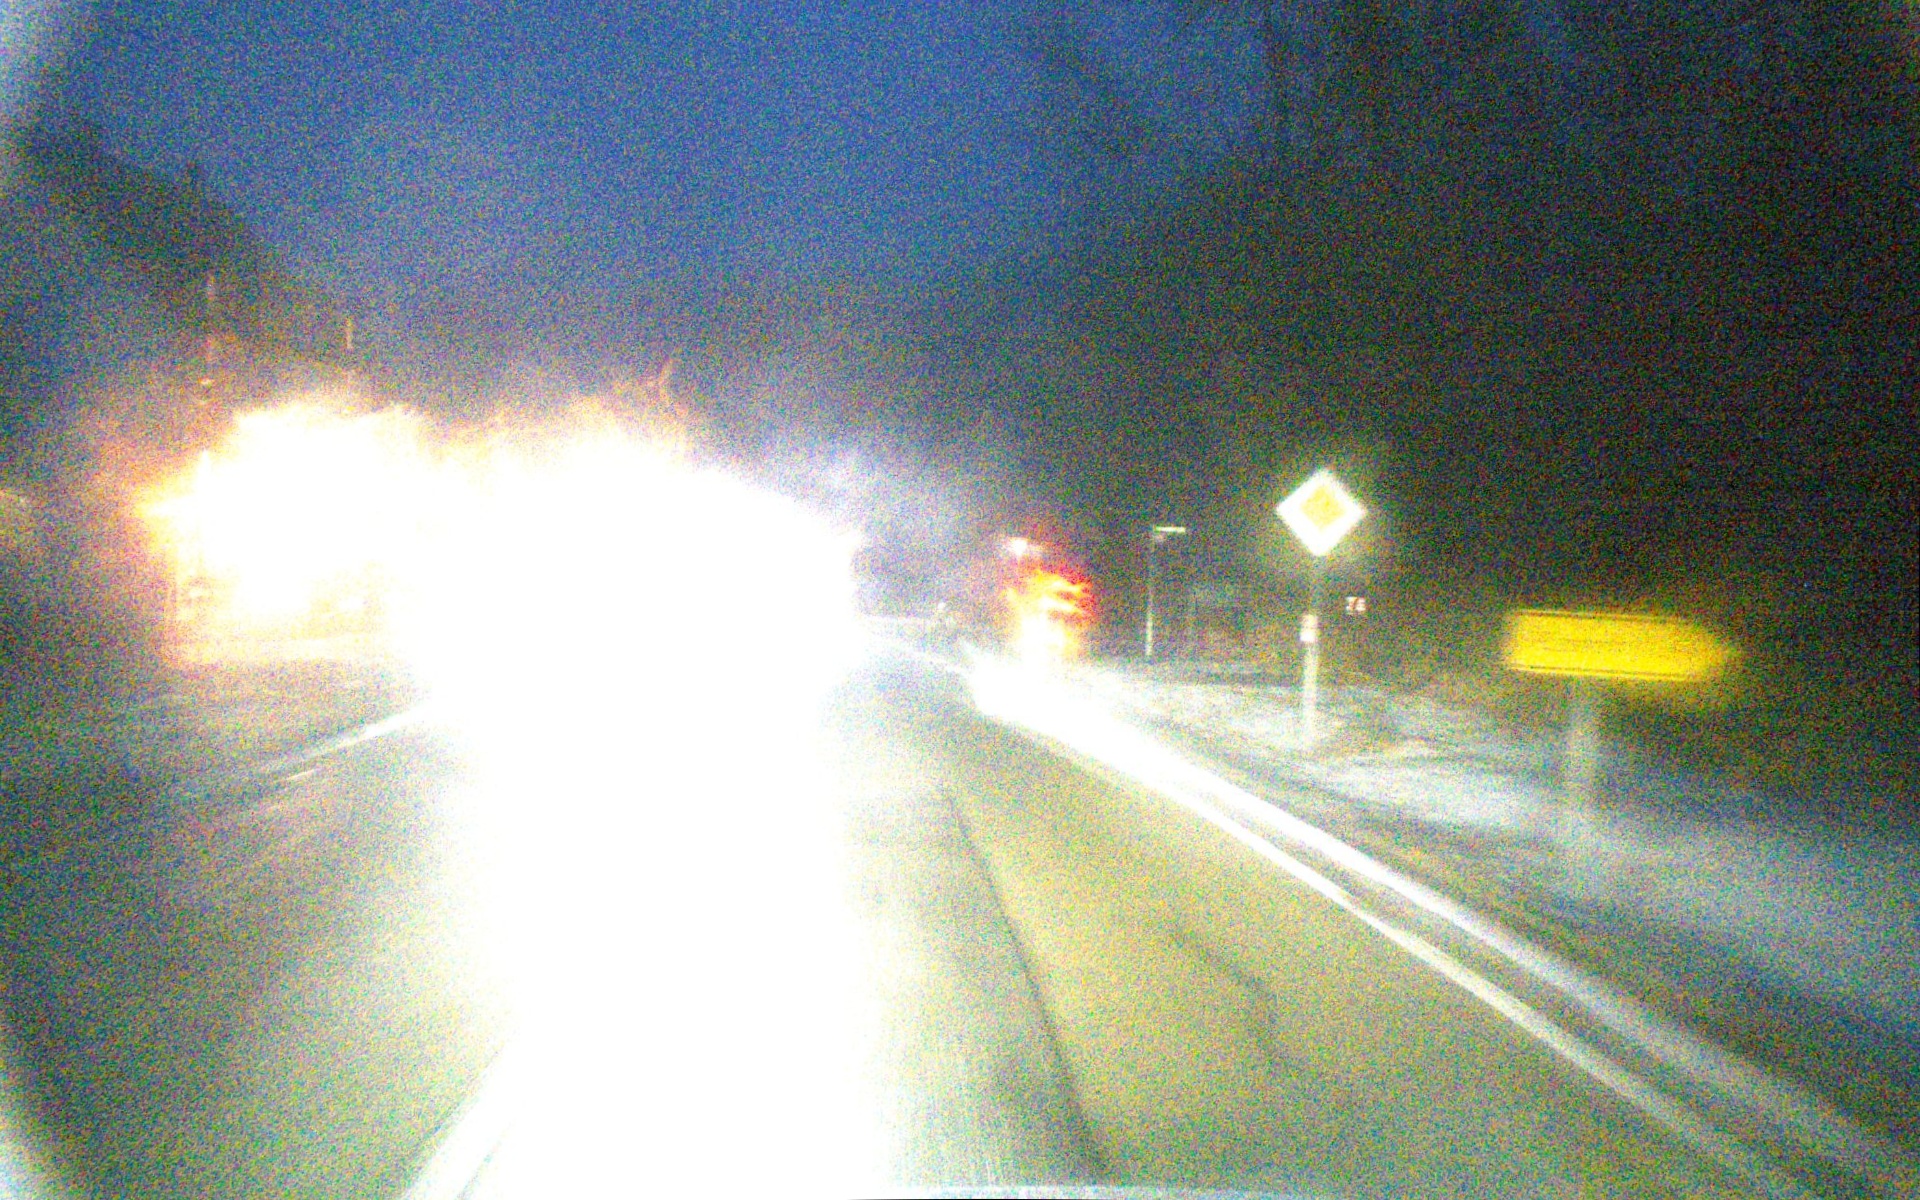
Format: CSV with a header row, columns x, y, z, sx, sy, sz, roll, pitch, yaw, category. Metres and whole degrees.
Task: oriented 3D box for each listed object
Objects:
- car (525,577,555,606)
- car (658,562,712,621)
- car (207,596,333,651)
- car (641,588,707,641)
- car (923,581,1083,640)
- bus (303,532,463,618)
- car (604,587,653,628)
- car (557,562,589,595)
x,y,z,sx,sy,sz,roll,pitch,yaw,category
-25.201,-0.518,99.174,1.668,1.627,3.785,0,1,-16,car
-13.590,-0.457,81.481,2.493,2.540,5.701,0,3,-11,car
-20.268,0.653,48.763,1.653,1.422,4.153,-2,1,5,car
-9.118,0.458,52.513,1.921,1.549,4.386,1,-1,-12,car
1.312,0.315,51.597,4.675,1.721,1.955,1,-1,33,car
-28.763,-1.294,81.932,2.877,3.936,12.863,0,1,-41,bus
-13.081,0.279,65.066,1.683,1.502,3.855,1,1,-14,car
-25.515,-1.421,108.972,1.960,2.049,3.984,1,-1,-15,car
